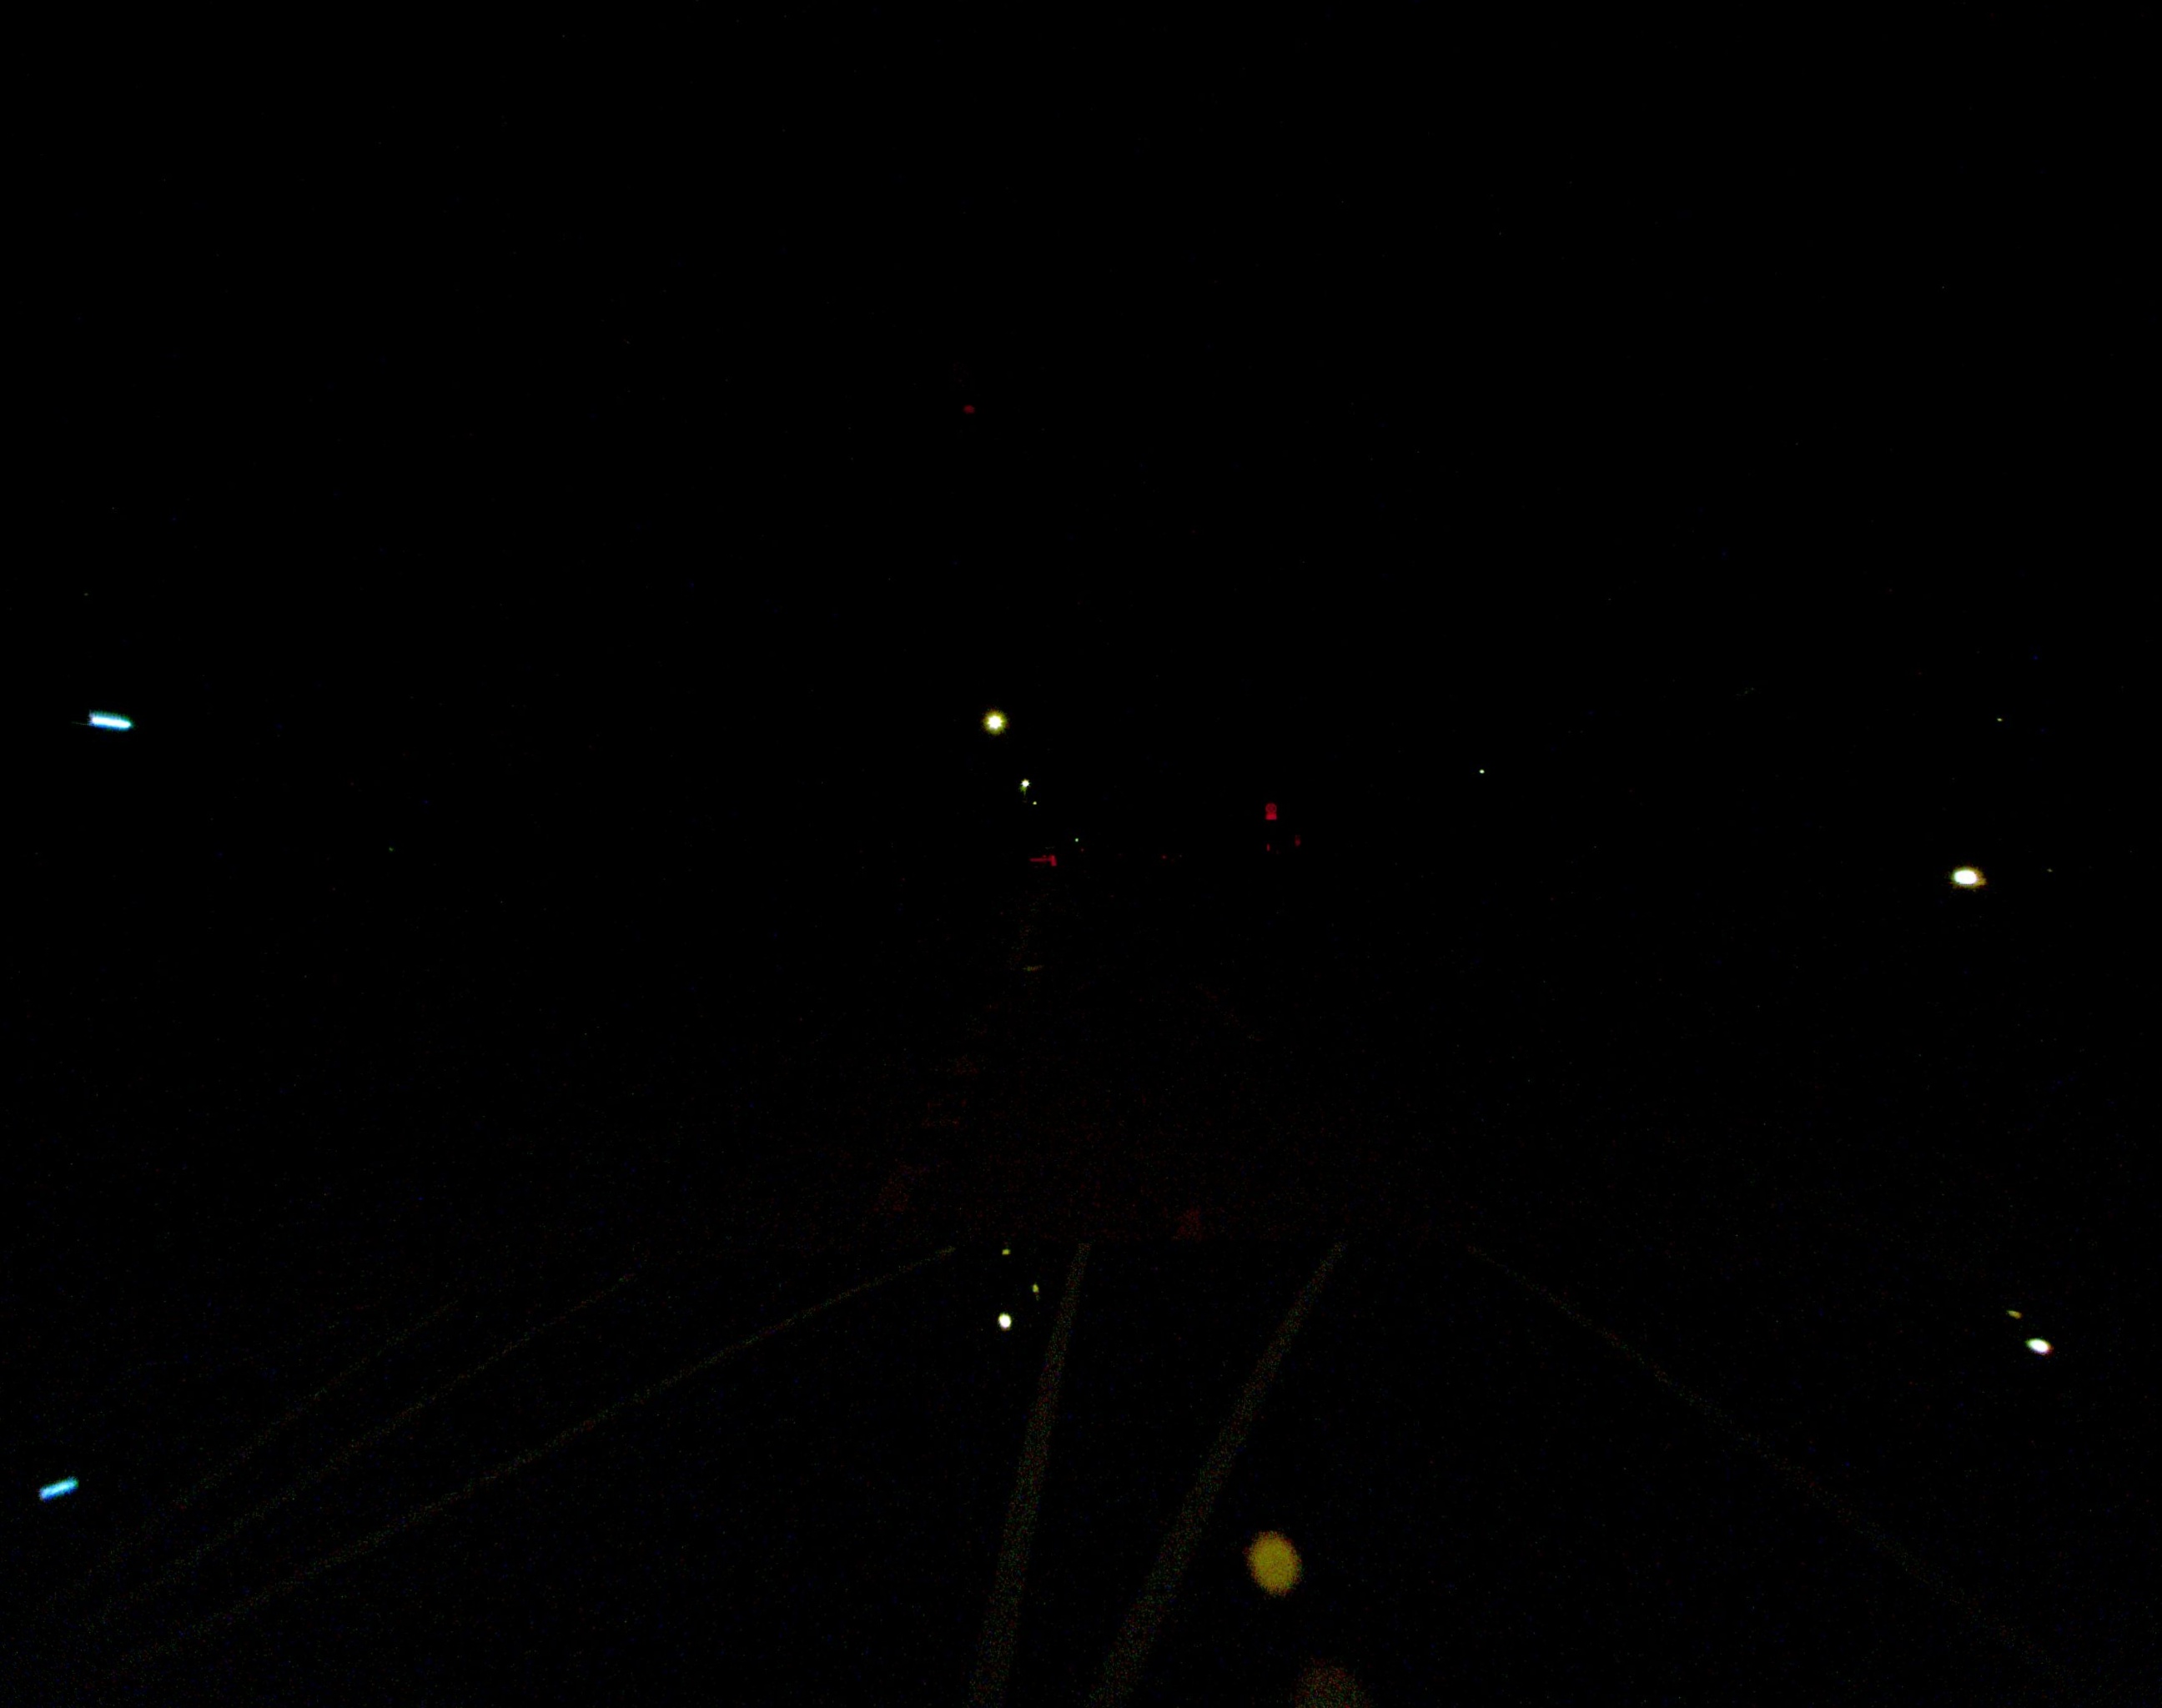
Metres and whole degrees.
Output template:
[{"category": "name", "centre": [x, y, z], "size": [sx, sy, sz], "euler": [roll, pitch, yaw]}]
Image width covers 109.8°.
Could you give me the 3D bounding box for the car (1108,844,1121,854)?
[{"category": "car", "centre": [5.183, -0.782, 118.303], "size": [1.911, 1.445, 3.999], "euler": [-3, 2, 1]}]

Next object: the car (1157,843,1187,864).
[{"category": "car", "centre": [7.244, -0.047, 60.915], "size": [1.911, 1.445, 3.999], "euler": [-3, 2, 1]}]

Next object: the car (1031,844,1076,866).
[{"category": "car", "centre": [-2.568, 0.068, 70.685], "size": [3.997, 1.821, 1.912], "euler": [-3, 2, 0]}]

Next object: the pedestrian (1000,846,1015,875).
[{"category": "pedestrian", "centre": [-4.747, 0.429, 49.164], "size": [0.824, 1.809, 0.608], "euler": [-3, 2, 1]}]

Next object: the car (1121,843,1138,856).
[{"category": "car", "centre": [6.375, -0.579, 100.431], "size": [1.911, 1.445, 3.999], "euler": [-3, 2, 1]}]

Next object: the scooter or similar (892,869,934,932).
[{"category": "scooter or similar", "centre": [-3.587, 0.968, 16.294], "size": [0.570, 1.271, 1.391], "euler": [0, 0, 0]}]
